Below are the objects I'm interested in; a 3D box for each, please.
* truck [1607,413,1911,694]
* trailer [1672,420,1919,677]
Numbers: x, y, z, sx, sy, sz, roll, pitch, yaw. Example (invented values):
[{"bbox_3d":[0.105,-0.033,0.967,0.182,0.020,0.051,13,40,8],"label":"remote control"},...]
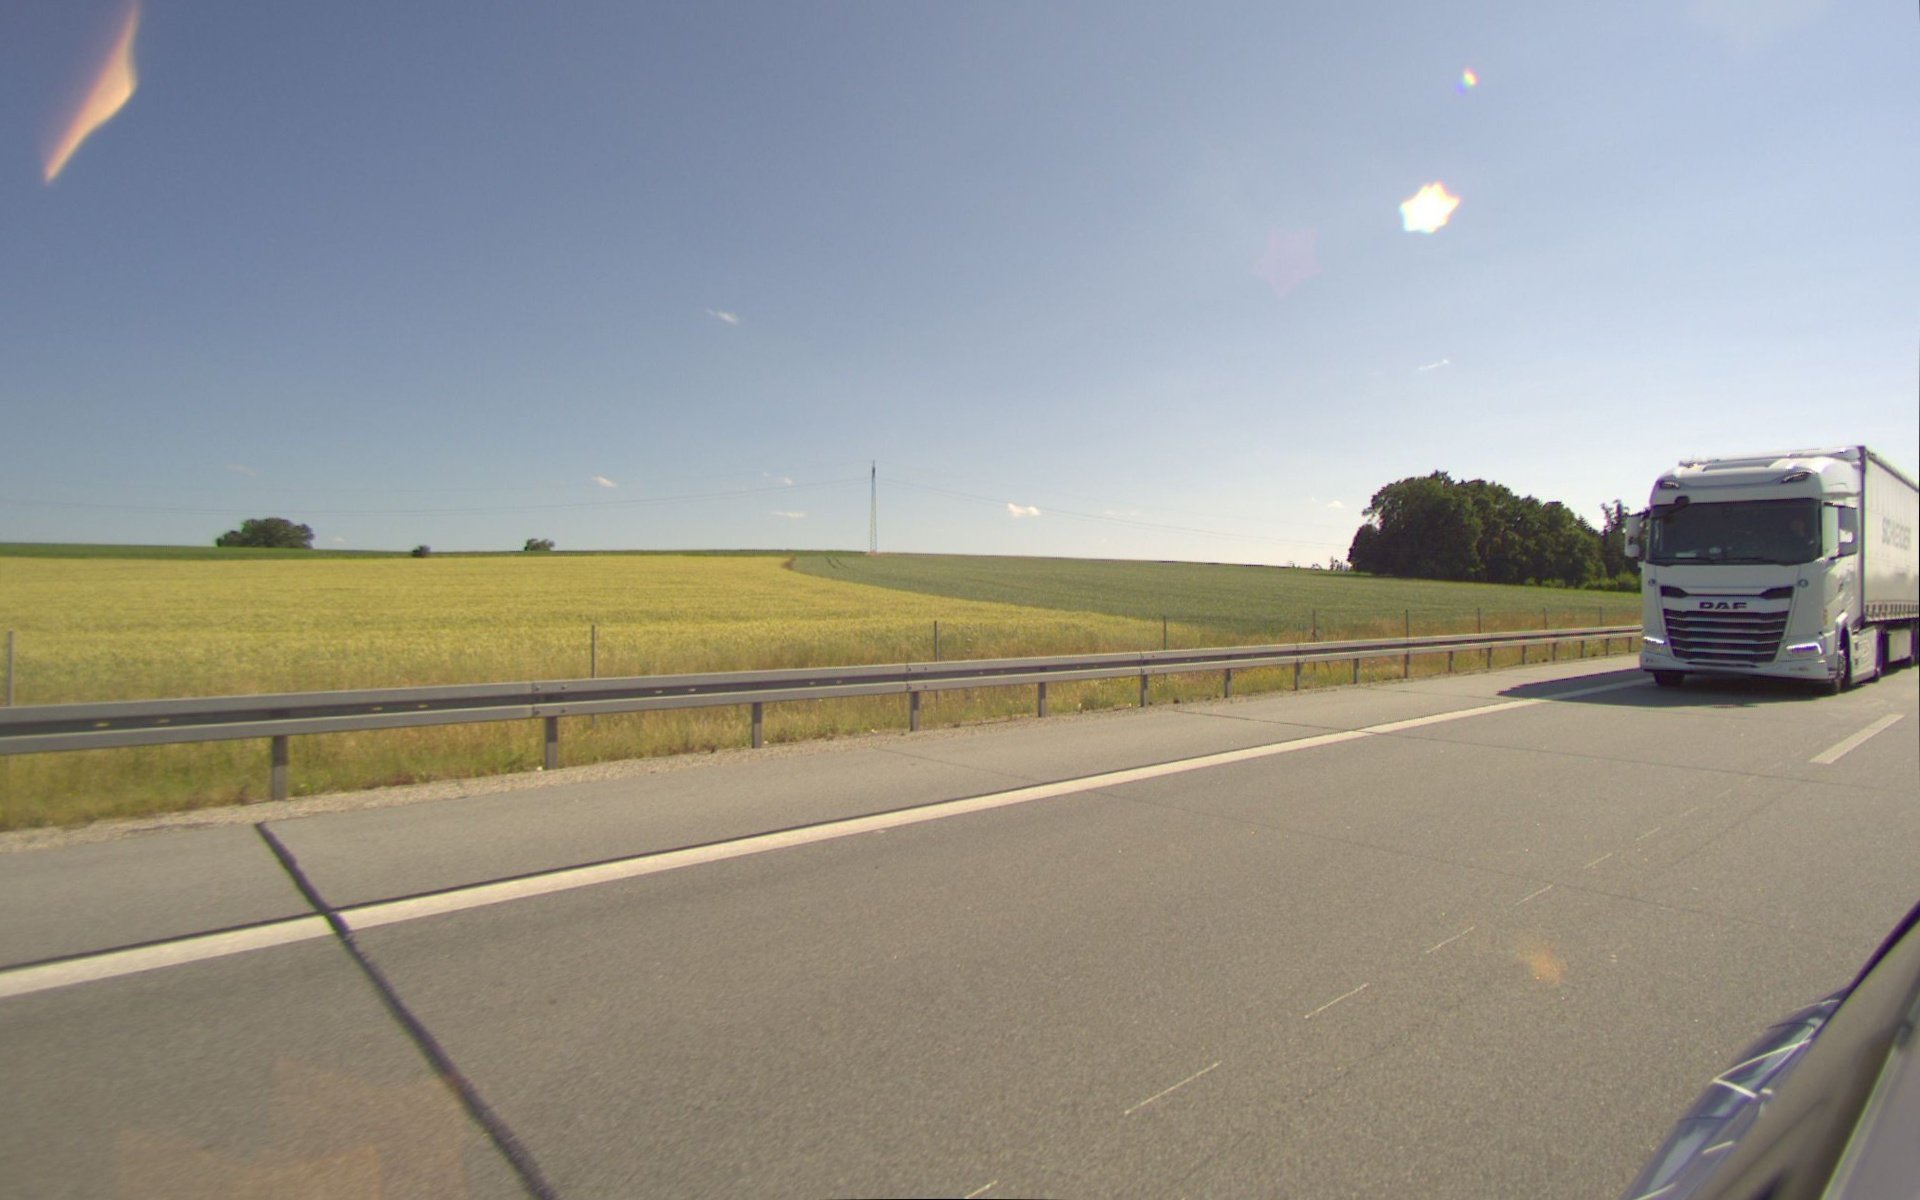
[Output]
[{"bbox_3d":[14.184,-0.682,17.816,6.080,4.065,3.088,0,0,-41],"label":"truck"},{"bbox_3d":[20.523,-0.933,23.310,15.189,4.348,3.182,0,1,-41],"label":"trailer"}]
